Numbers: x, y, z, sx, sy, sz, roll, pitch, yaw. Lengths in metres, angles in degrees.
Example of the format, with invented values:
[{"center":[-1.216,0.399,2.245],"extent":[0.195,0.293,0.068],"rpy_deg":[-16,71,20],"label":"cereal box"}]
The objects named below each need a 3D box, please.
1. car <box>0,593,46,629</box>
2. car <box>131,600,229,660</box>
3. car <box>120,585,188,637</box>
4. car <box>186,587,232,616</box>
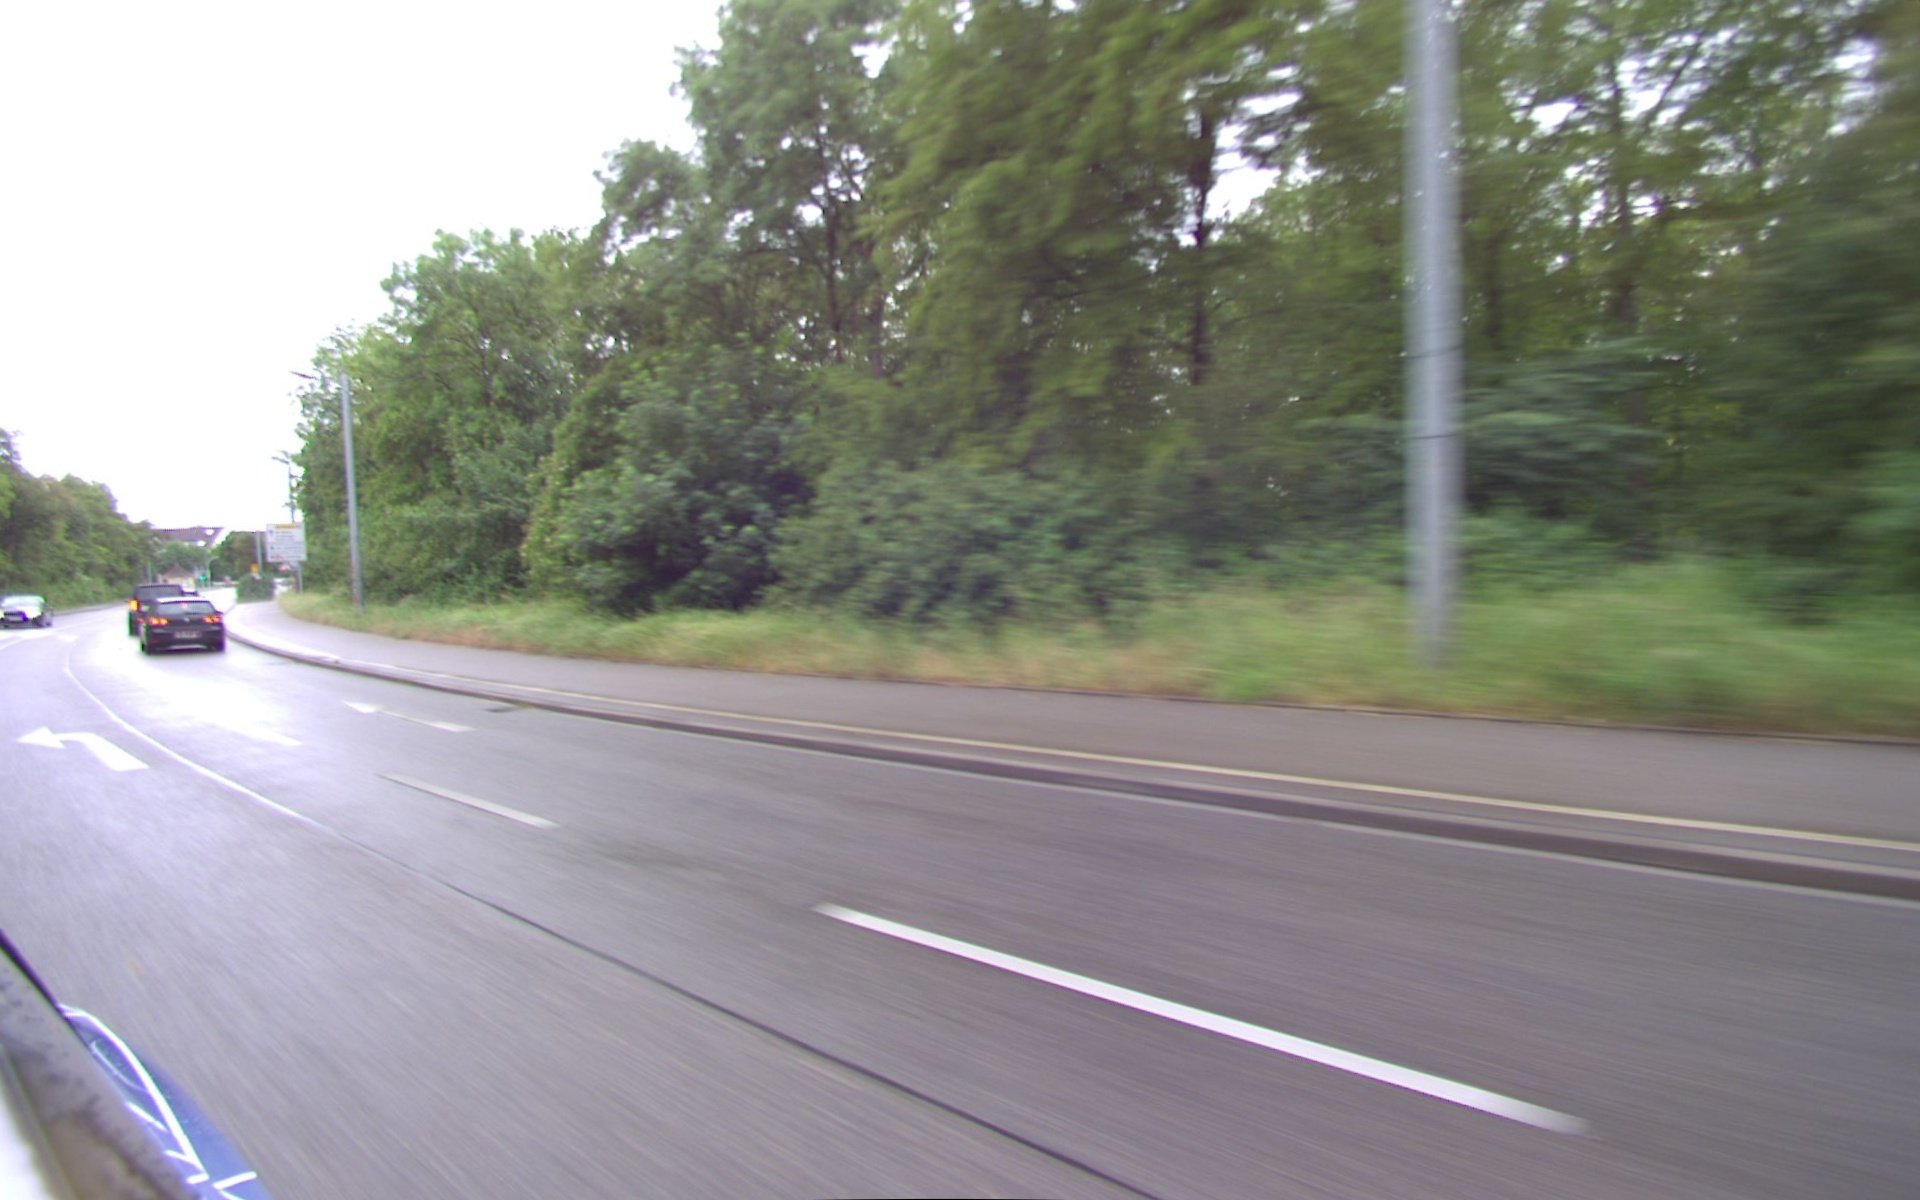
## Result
[{"center":[-42.883,0.515,45.950],"extent":[1.804,1.532,4.007],"rpy_deg":[3,-3,-39],"label":"car"},{"center":[-21.660,0.777,28.053],"extent":[1.805,1.451,4.005],"rpy_deg":[-3,2,-42],"label":"car"},{"center":[-31.456,0.485,39.451],"extent":[1.804,1.857,4.718],"rpy_deg":[3,-3,-41],"label":"car"},{"center":[-43.436,0.112,58.534],"extent":[1.804,1.532,4.006],"rpy_deg":[3,-3,-41],"label":"car"}]
